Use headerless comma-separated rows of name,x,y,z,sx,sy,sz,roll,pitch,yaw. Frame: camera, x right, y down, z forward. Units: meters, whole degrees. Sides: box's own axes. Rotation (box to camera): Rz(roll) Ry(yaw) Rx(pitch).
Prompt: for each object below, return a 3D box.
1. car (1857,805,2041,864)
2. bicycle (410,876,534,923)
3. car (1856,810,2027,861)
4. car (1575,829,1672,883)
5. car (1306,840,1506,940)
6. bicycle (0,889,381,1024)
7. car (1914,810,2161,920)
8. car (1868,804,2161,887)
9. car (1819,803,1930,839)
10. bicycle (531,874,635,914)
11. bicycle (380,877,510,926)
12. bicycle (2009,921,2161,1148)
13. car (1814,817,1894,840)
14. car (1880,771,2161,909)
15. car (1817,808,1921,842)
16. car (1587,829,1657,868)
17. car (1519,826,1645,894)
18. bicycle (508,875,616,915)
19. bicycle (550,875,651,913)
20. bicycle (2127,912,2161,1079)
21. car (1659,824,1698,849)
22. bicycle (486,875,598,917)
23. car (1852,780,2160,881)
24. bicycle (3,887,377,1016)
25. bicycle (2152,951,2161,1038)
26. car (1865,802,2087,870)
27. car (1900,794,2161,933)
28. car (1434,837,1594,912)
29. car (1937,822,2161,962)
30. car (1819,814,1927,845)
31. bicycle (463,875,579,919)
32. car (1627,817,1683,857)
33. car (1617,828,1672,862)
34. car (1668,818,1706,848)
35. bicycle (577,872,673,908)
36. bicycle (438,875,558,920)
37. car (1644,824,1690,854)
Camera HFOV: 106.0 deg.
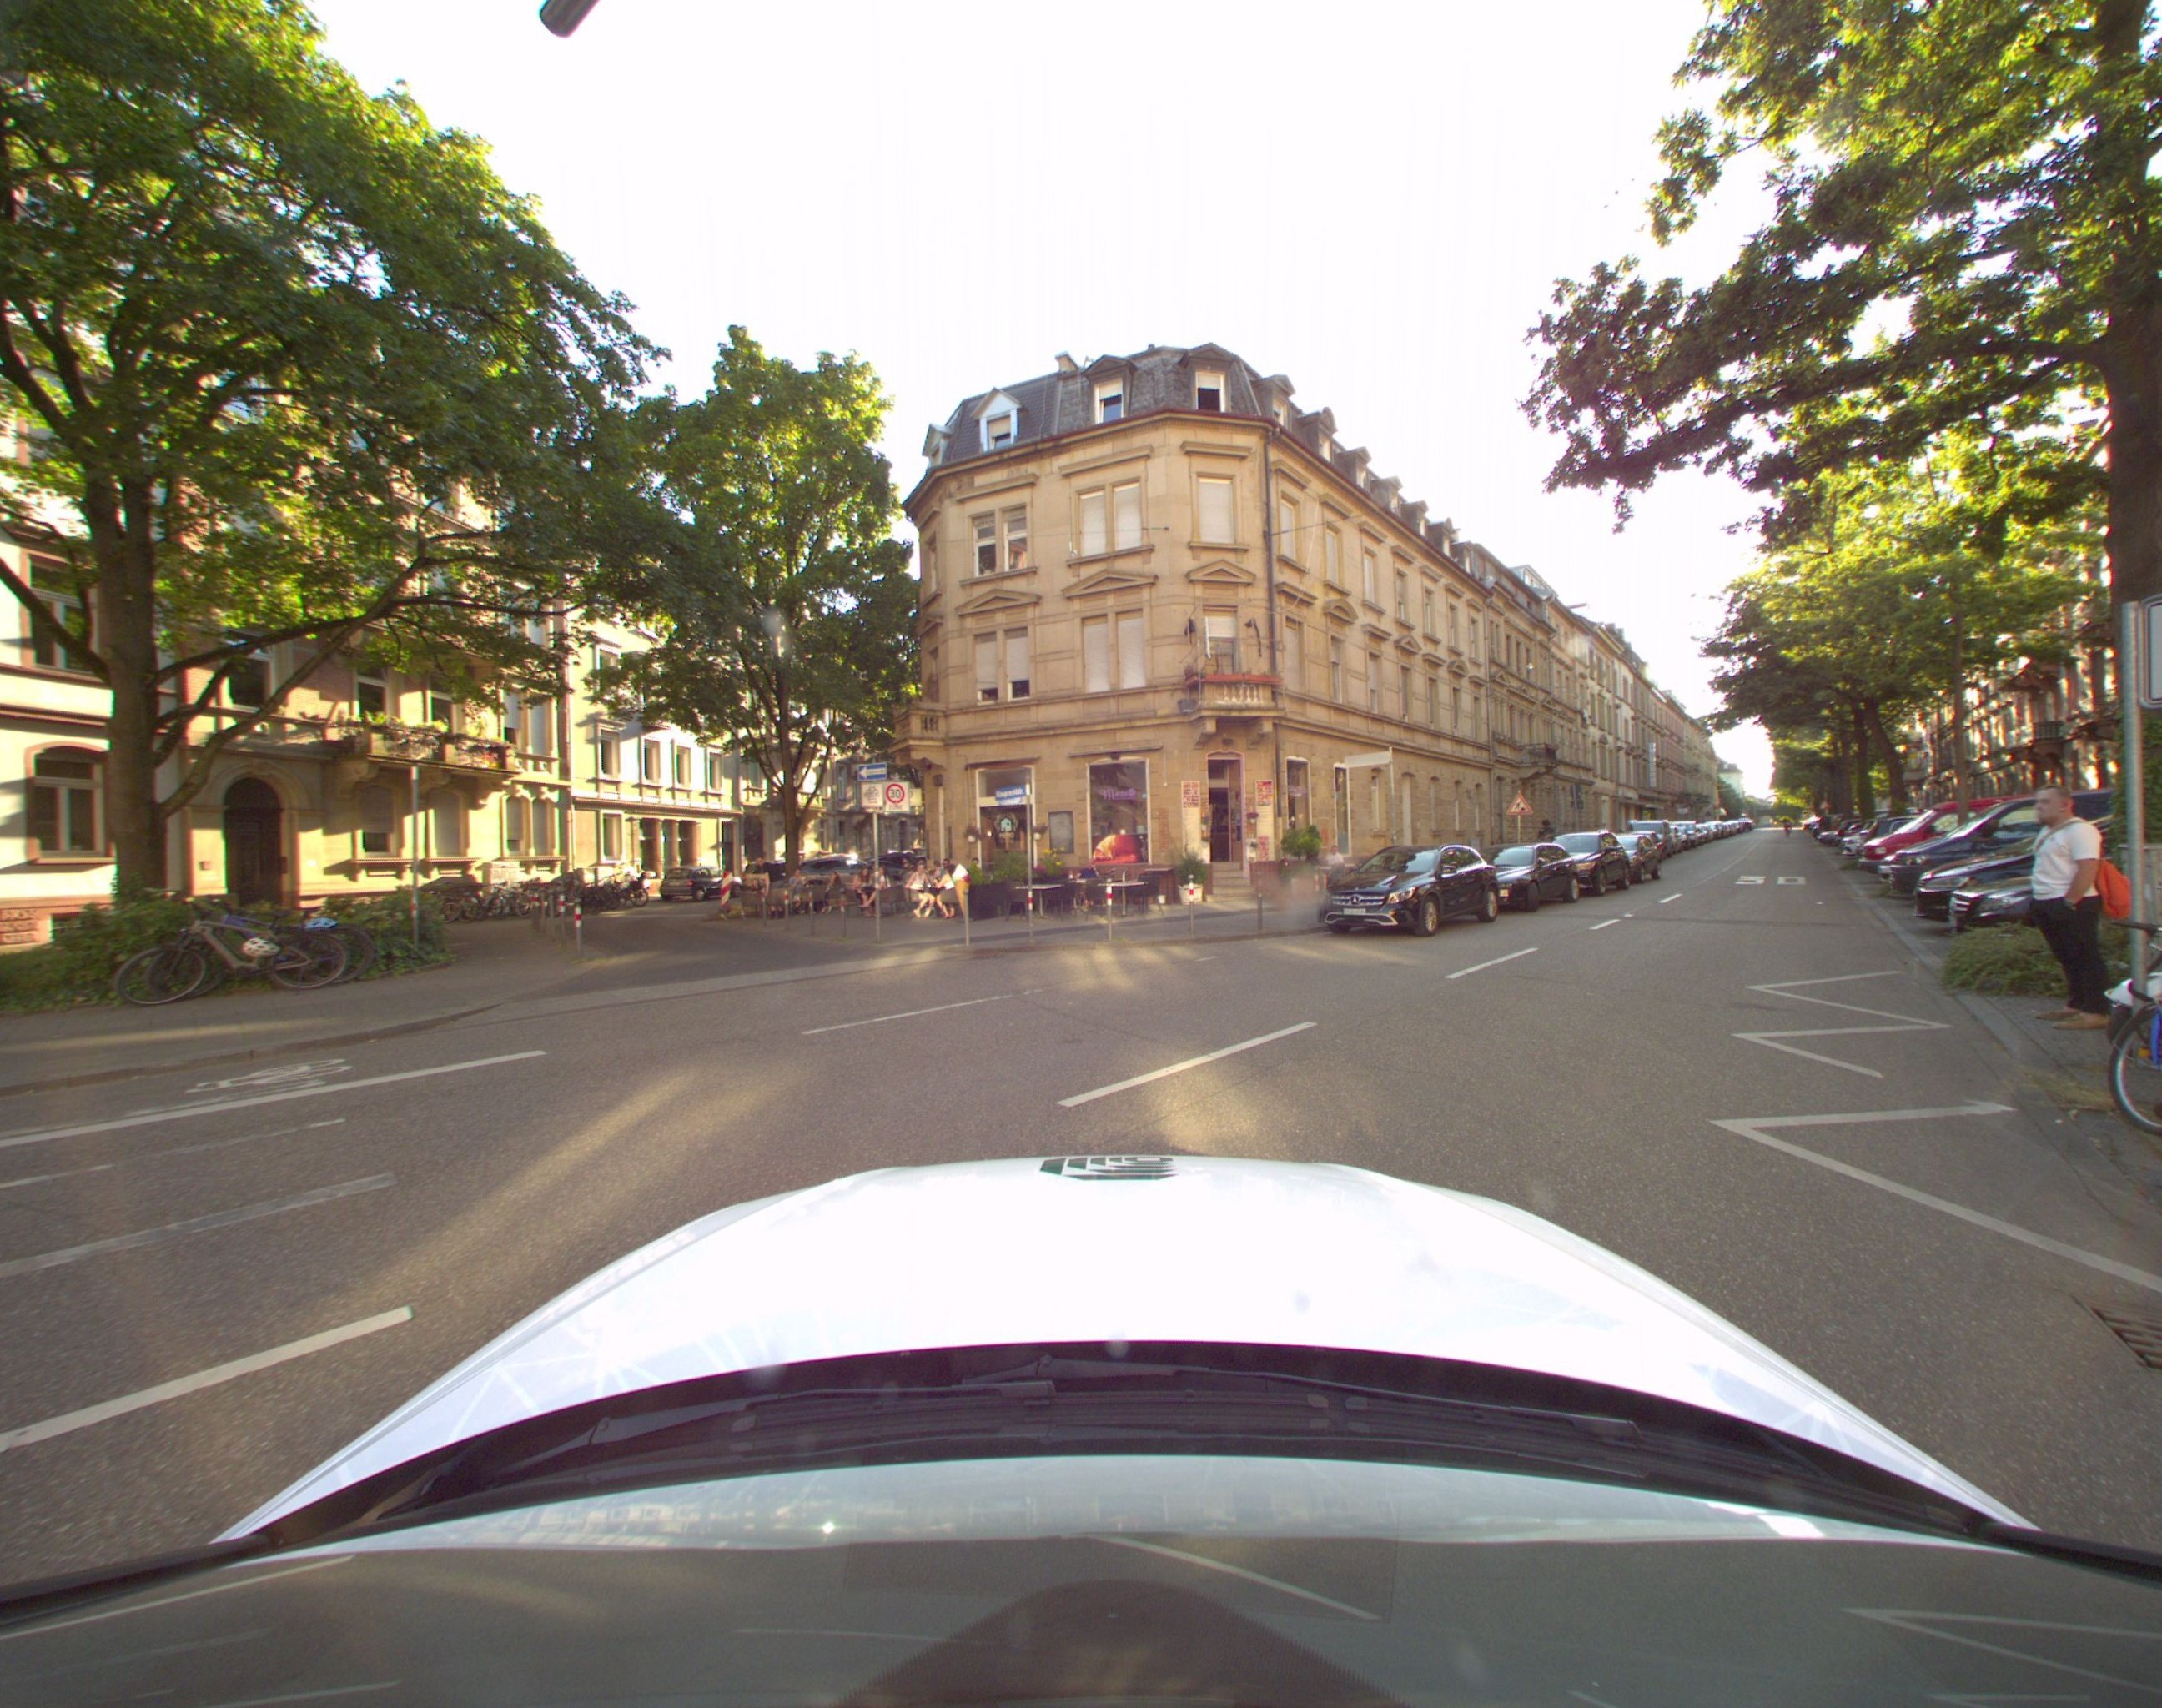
car,28.952,-0.614,27.378,3.971,1.628,1.816,-4,-2,40
bicycle,-17.165,1.272,22.976,3.110,1.180,0.753,-2,0,7
car,30.629,-0.625,29.190,3.971,1.434,1.806,-6,-2,41
car,17.198,0.036,25.764,1.742,1.501,4.084,-3,0,45
car,5.944,0.557,14.651,4.163,1.488,1.742,-2,-1,-44
bicycle,-10.116,1.086,9.444,2.976,1.196,0.541,-2,0,-44
car,15.480,0.138,12.190,4.067,1.534,1.735,-2,0,43
car,20.338,-0.139,18.035,4.015,1.510,1.890,-5,-2,41
car,51.989,-2.140,53.510,5.008,1.925,1.846,-5,-1,42
bicycle,-16.550,1.333,27.068,3.110,1.180,0.753,-2,0,7
bicycle,-17.259,1.291,22.134,3.110,1.180,0.753,-2,0,7
bicycle,5.462,0.867,4.172,1.412,0.927,0.352,-3,-2,-19
car,53.274,-1.760,56.241,3.812,1.294,1.729,-5,-1,38
car,17.535,-0.237,14.187,4.973,2.215,2.005,-2,0,41
car,49.212,-1.779,50.963,4.184,1.795,1.845,-4,-1,22
car,23.197,-0.261,34.886,1.742,1.501,4.084,-3,0,44
car,13.536,0.125,21.873,4.577,1.600,1.742,-3,0,-44
bicycle,-16.715,1.319,26.236,3.110,1.180,0.753,-2,0,7
bicycle,-16.443,1.378,27.909,3.110,1.180,0.753,-2,0,7
bicycle,6.915,0.750,4.112,1.911,0.927,0.357,-6,-3,41
car,38.112,-1.136,51.898,1.742,1.467,4.026,0,2,40
bicycle,-16.810,1.304,25.428,3.110,1.180,0.753,-2,0,7
car,22.286,-0.494,19.997,4.629,2.033,1.891,-4,-2,39
bicycle,-10.527,1.081,9.864,2.976,1.196,0.541,-2,0,-44
bicycle,4.908,0.790,2.516,1.914,0.988,0.499,-4,-2,20
car,25.755,-0.485,23.689,1.848,1.628,4.147,-2,-2,-45
car,13.851,0.080,10.401,4.643,1.679,1.862,-4,-2,43
car,9.849,0.405,18.354,4.576,1.451,1.742,-2,-1,-43
car,12.340,0.327,8.364,4.740,1.413,1.862,-4,-2,44
car,45.385,-1.382,46.787,4.179,1.403,1.847,-5,-1,37
bicycle,-16.913,1.289,24.601,3.110,1.180,0.753,-2,0,7
car,29.999,-0.916,42.474,1.815,1.943,5.293,0,2,41
car,26.439,-0.426,38.148,1.578,1.475,3.722,0,2,43
car,41.437,-1.457,55.619,1.741,1.842,4.558,-3,0,40
bicycle,-16.245,1.280,29.039,3.110,1.180,0.753,-2,0,7
bicycle,-17.032,1.278,23.817,3.110,1.180,0.753,-2,0,7
car,33.860,-0.905,47.026,1.737,1.608,4.411,0,2,42
